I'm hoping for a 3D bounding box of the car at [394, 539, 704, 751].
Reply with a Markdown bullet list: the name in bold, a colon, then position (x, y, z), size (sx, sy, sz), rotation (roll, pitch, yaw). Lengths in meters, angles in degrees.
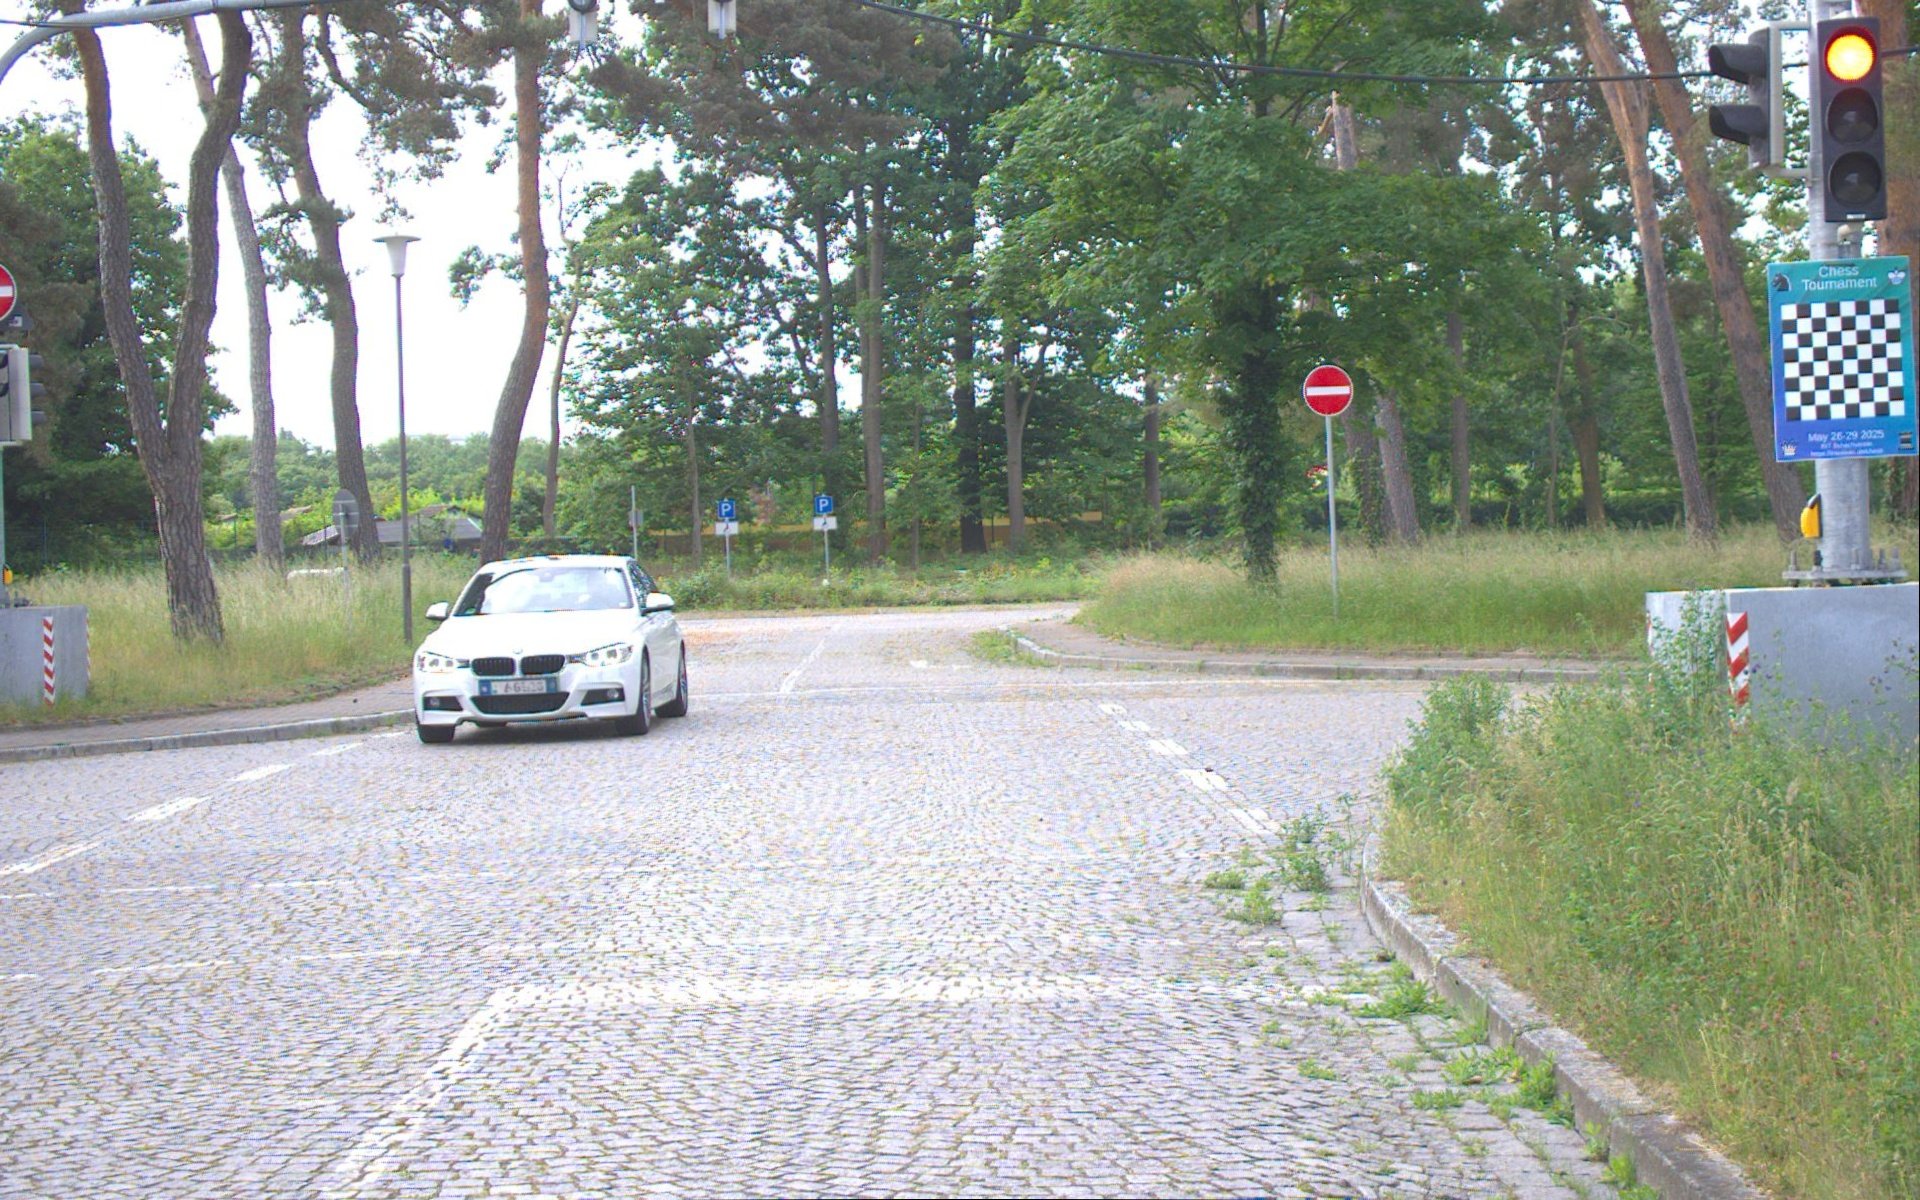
- **car**: position (-3.253, 0.305, 27.997), size (1.773, 1.433, 4.218), rotation (-4, 1, 2)
